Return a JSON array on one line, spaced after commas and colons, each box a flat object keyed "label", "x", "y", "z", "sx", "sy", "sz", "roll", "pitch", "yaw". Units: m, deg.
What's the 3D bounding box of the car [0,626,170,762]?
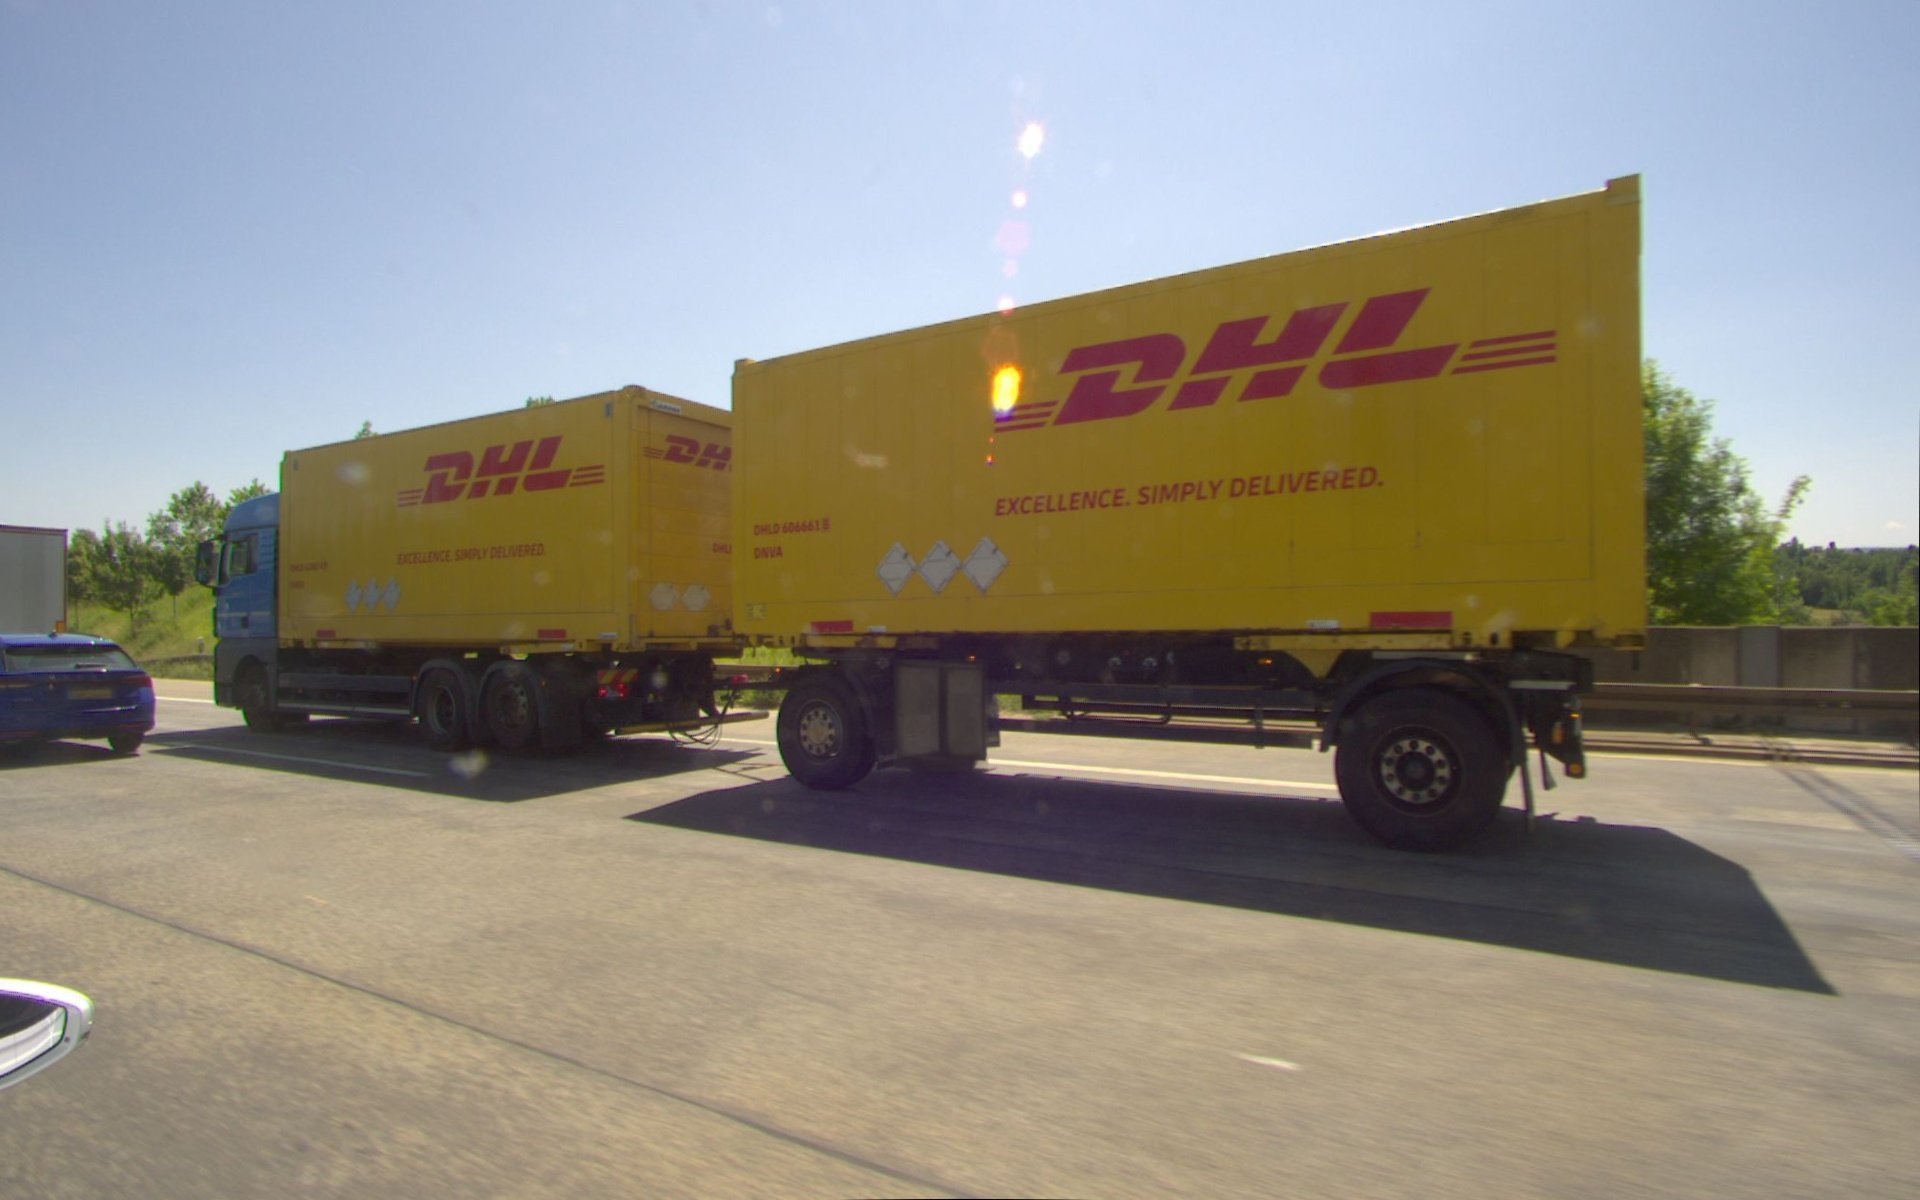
[{"label": "car", "x": -11.779, "y": 1.079, "z": 12.435, "sx": 4.364, "sy": 1.459, "sz": 1.703, "roll": -2, "pitch": -2, "yaw": 32}]

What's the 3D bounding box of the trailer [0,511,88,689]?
[{"label": "trailer", "x": -27.842, "y": 0.100, "z": 26.731, "sx": 13.551, "sy": 4.102, "sz": 2.958, "roll": -1, "pitch": -1, "yaw": 31}]

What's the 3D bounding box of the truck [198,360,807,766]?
[{"label": "truck", "x": -6.816, "y": -0.269, "z": 14.008, "sx": 9.808, "sy": 4.162, "sz": 2.761, "roll": -1, "pitch": -1, "yaw": 32}]

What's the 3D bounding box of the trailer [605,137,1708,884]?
[{"label": "trailer", "x": 0.935, "y": -0.398, "z": 9.205, "sx": 9.241, "sy": 4.170, "sz": 2.761, "roll": -1, "pitch": -1, "yaw": 32}]
